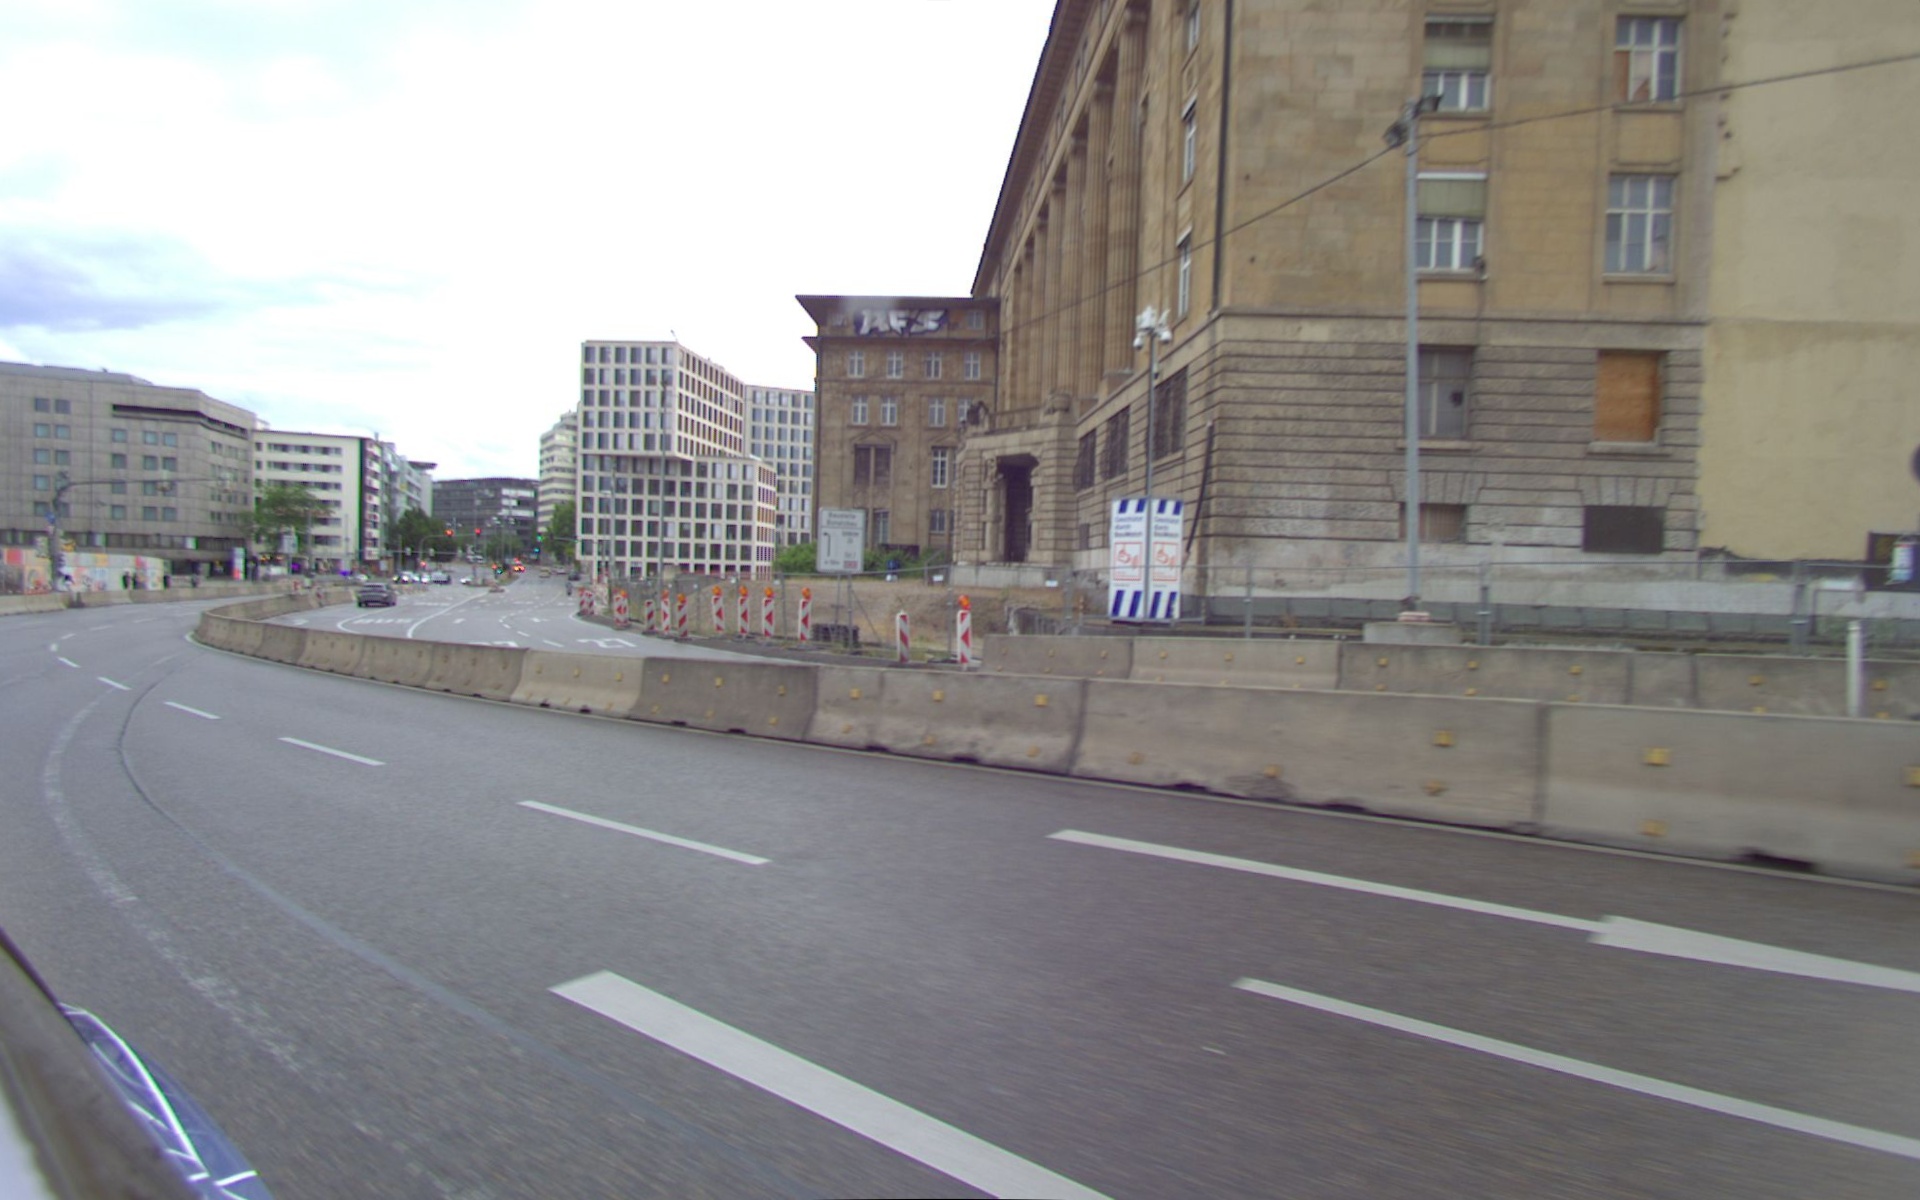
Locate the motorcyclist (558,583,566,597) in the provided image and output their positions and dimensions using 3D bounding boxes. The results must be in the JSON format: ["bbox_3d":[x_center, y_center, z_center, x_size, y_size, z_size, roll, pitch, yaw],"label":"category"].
[{"bbox_3d":[-44.058,-1.094,111.964,0.692,1.498,0.966,1,1,-27],"label":"motorcyclist"}]

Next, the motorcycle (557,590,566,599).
[{"bbox_3d":[-44.121,-0.616,112.095,0.692,0.899,1.829,1,1,-27],"label":"motorcycle"}]

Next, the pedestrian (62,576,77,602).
[{"bbox_3d":[-58.958,-0.761,66.986,0.638,1.682,0.767,3,0,-37],"label":"pedestrian"}]

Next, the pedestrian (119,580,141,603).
[{"bbox_3d":[-65.799,-0.675,80.223,1.081,1.774,0.909,3,0,-22],"label":"pedestrian"}]

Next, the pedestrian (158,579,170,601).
[{"bbox_3d":[-66.111,-0.821,84.058,0.745,1.774,0.767,3,0,-37],"label":"pedestrian"}]

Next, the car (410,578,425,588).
[{"bbox_3d":[-86.794,-2.722,161.919,1.965,1.464,4.013,1,1,-27],"label":"car"}]

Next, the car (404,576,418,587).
[{"bbox_3d":[-92.418,-3.139,170.279,1.965,1.862,4.013,1,1,-27],"label":"car"}]

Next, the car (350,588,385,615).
[{"bbox_3d":[-36.591,0.056,62.584,1.742,1.532,4.401,1,1,-29],"label":"car"}]

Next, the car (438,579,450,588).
[{"bbox_3d":[-82.720,-2.673,162.363,1.680,1.464,3.808,1,1,-27],"label":"car"}]

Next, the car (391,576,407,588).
[{"bbox_3d":[-89.833,-2.953,162.057,1.965,1.838,4.013,1,1,-27],"label":"car"}]

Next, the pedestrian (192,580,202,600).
[{"bbox_3d":[-68.477,-0.862,90.827,0.643,1.774,0.550,3,0,-37],"label":"pedestrian"}]

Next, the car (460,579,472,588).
[{"bbox_3d":[-80.488,-2.650,164.858,1.762,1.464,3.684,1,1,-27],"label":"car"}]
